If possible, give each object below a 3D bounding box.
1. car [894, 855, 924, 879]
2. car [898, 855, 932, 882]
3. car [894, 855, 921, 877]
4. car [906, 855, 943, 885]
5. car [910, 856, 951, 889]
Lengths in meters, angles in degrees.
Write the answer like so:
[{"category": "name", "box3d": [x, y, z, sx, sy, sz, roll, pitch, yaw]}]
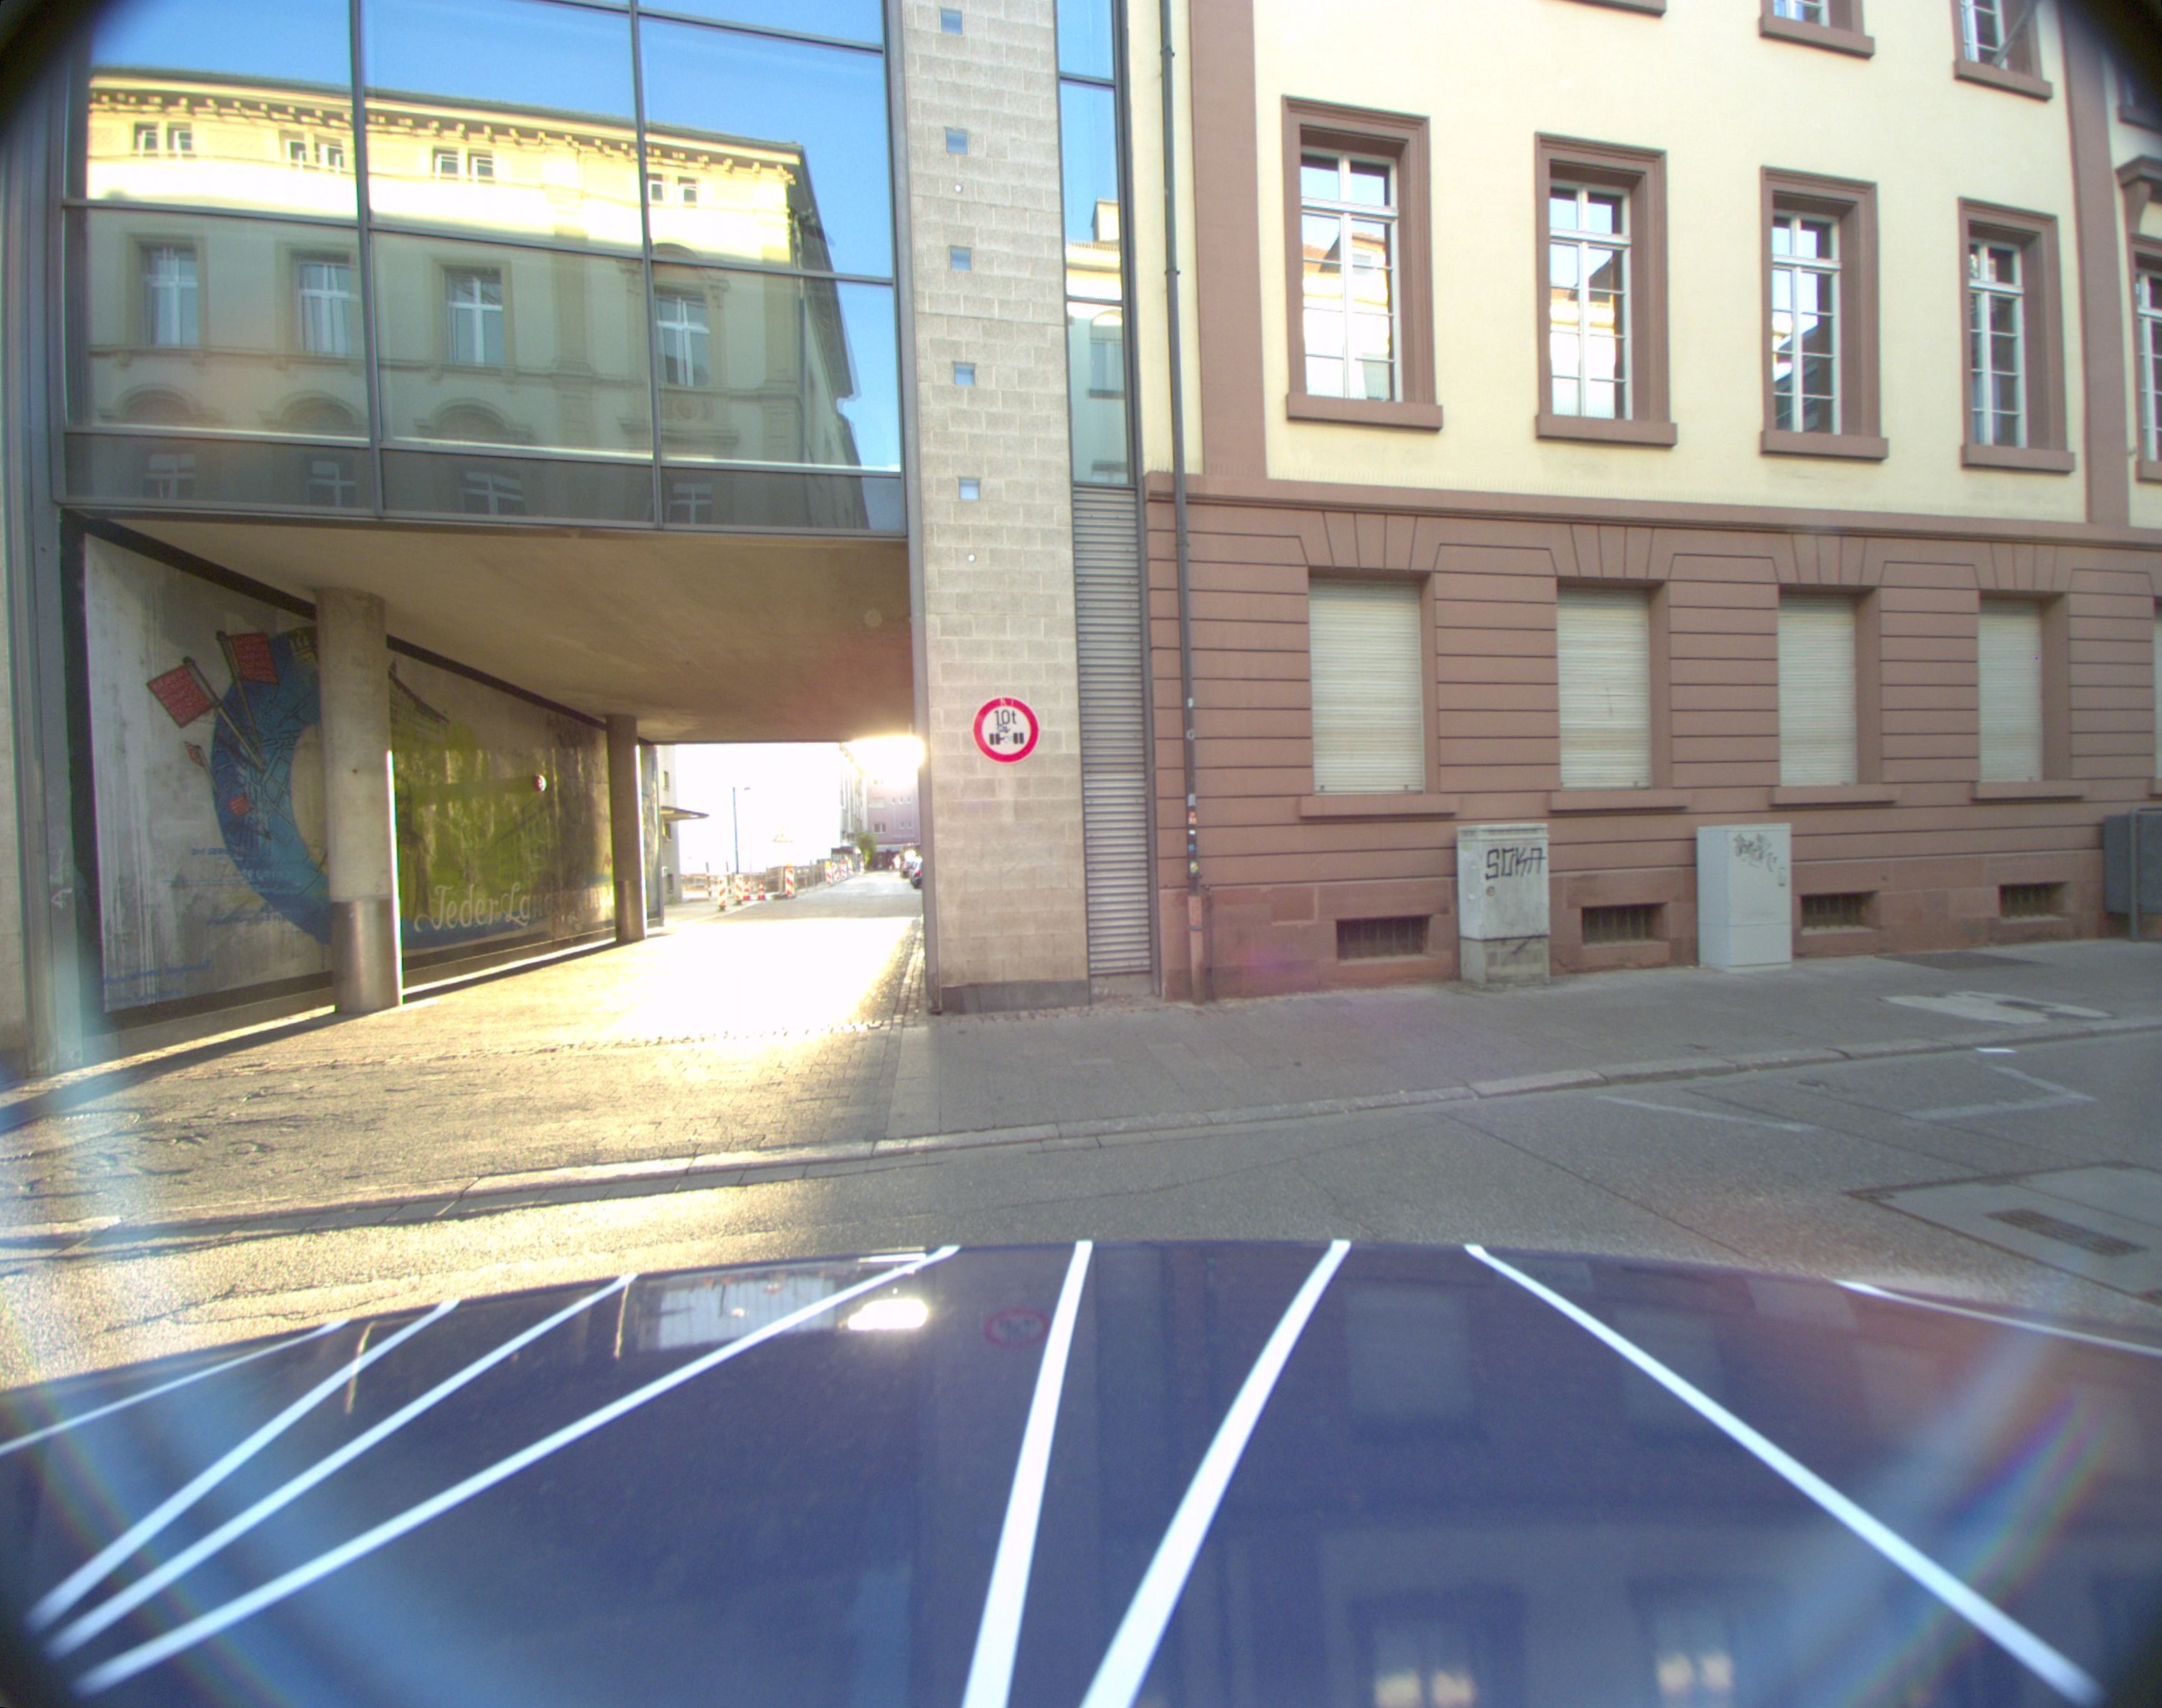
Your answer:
[{"category": "car", "box3d": [-11.583, 0.838, 51.047, 1.603, 1.484, 3.439, -2, 1, -18]}, {"category": "car", "box3d": [-9.930, 0.837, 45.396, 1.603, 1.484, 3.439, -2, 1, -18]}, {"category": "car", "box3d": [-12.803, 0.865, 56.032, 1.603, 1.484, 3.439, -2, 1, -18]}, {"category": "car", "box3d": [-8.607, 0.822, 41.570, 1.603, 1.484, 3.439, -2, 1, -18]}, {"category": "car", "box3d": [-7.567, 0.885, 37.988, 1.603, 1.484, 3.439, -2, 1, -18]}]
